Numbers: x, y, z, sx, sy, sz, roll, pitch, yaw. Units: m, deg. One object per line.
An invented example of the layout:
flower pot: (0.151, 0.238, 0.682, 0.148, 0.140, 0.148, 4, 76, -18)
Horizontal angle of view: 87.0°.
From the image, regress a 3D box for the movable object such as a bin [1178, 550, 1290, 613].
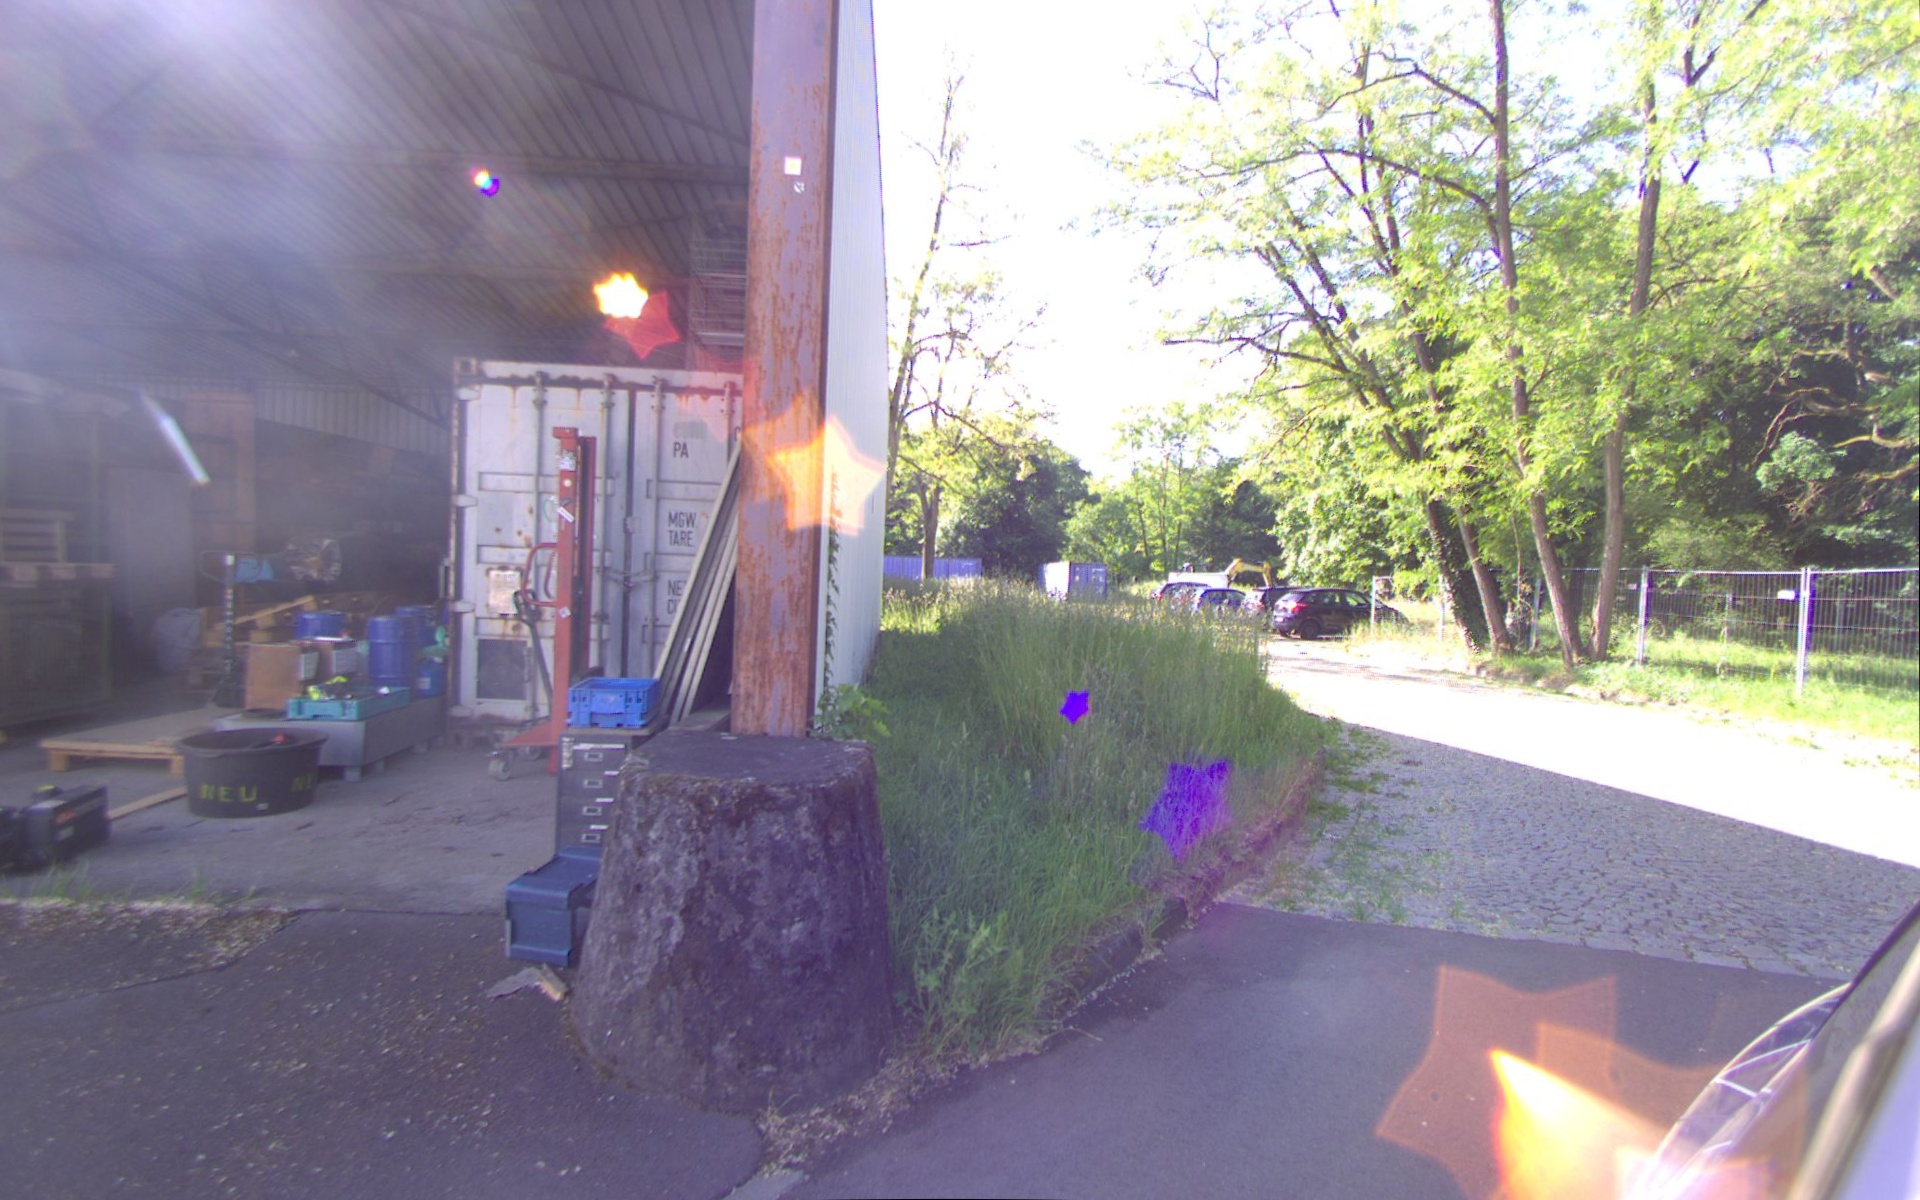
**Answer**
movable object such as a bin: (13.977, -0.952, 51.825, 5.069, 3.003, 1.999, 2, 1, 2)

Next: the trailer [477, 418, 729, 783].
trailer: (-2.176, 0.011, 6.303, 1.258, 2.094, 0.582, 3, -1, -6)

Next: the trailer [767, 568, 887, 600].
trailer: (-7.220, -0.893, 55.634, 6.366, 1.536, 2.858, 1, 2, -2)

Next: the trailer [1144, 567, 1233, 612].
trailer: (11.075, -0.501, 49.141, 3.896, 2.120, 1.640, 1, 1, -2)

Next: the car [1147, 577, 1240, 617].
car: (10.628, -0.162, 46.221, 3.748, 1.661, 1.868, 2, 1, 0)

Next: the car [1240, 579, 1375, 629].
car: (12.262, 0.129, 35.870, 4.108, 1.677, 1.819, 0, 1, -3)

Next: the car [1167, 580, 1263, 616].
car: (10.988, -0.100, 43.793, 3.592, 1.469, 1.835, 0, 2, -2)

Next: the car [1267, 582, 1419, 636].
car: (12.300, 0.259, 32.625, 4.213, 1.672, 1.796, 0, 1, -7)

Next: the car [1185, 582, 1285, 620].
car: (11.159, 0.027, 41.223, 3.594, 1.512, 1.715, 0, 1, 0)
